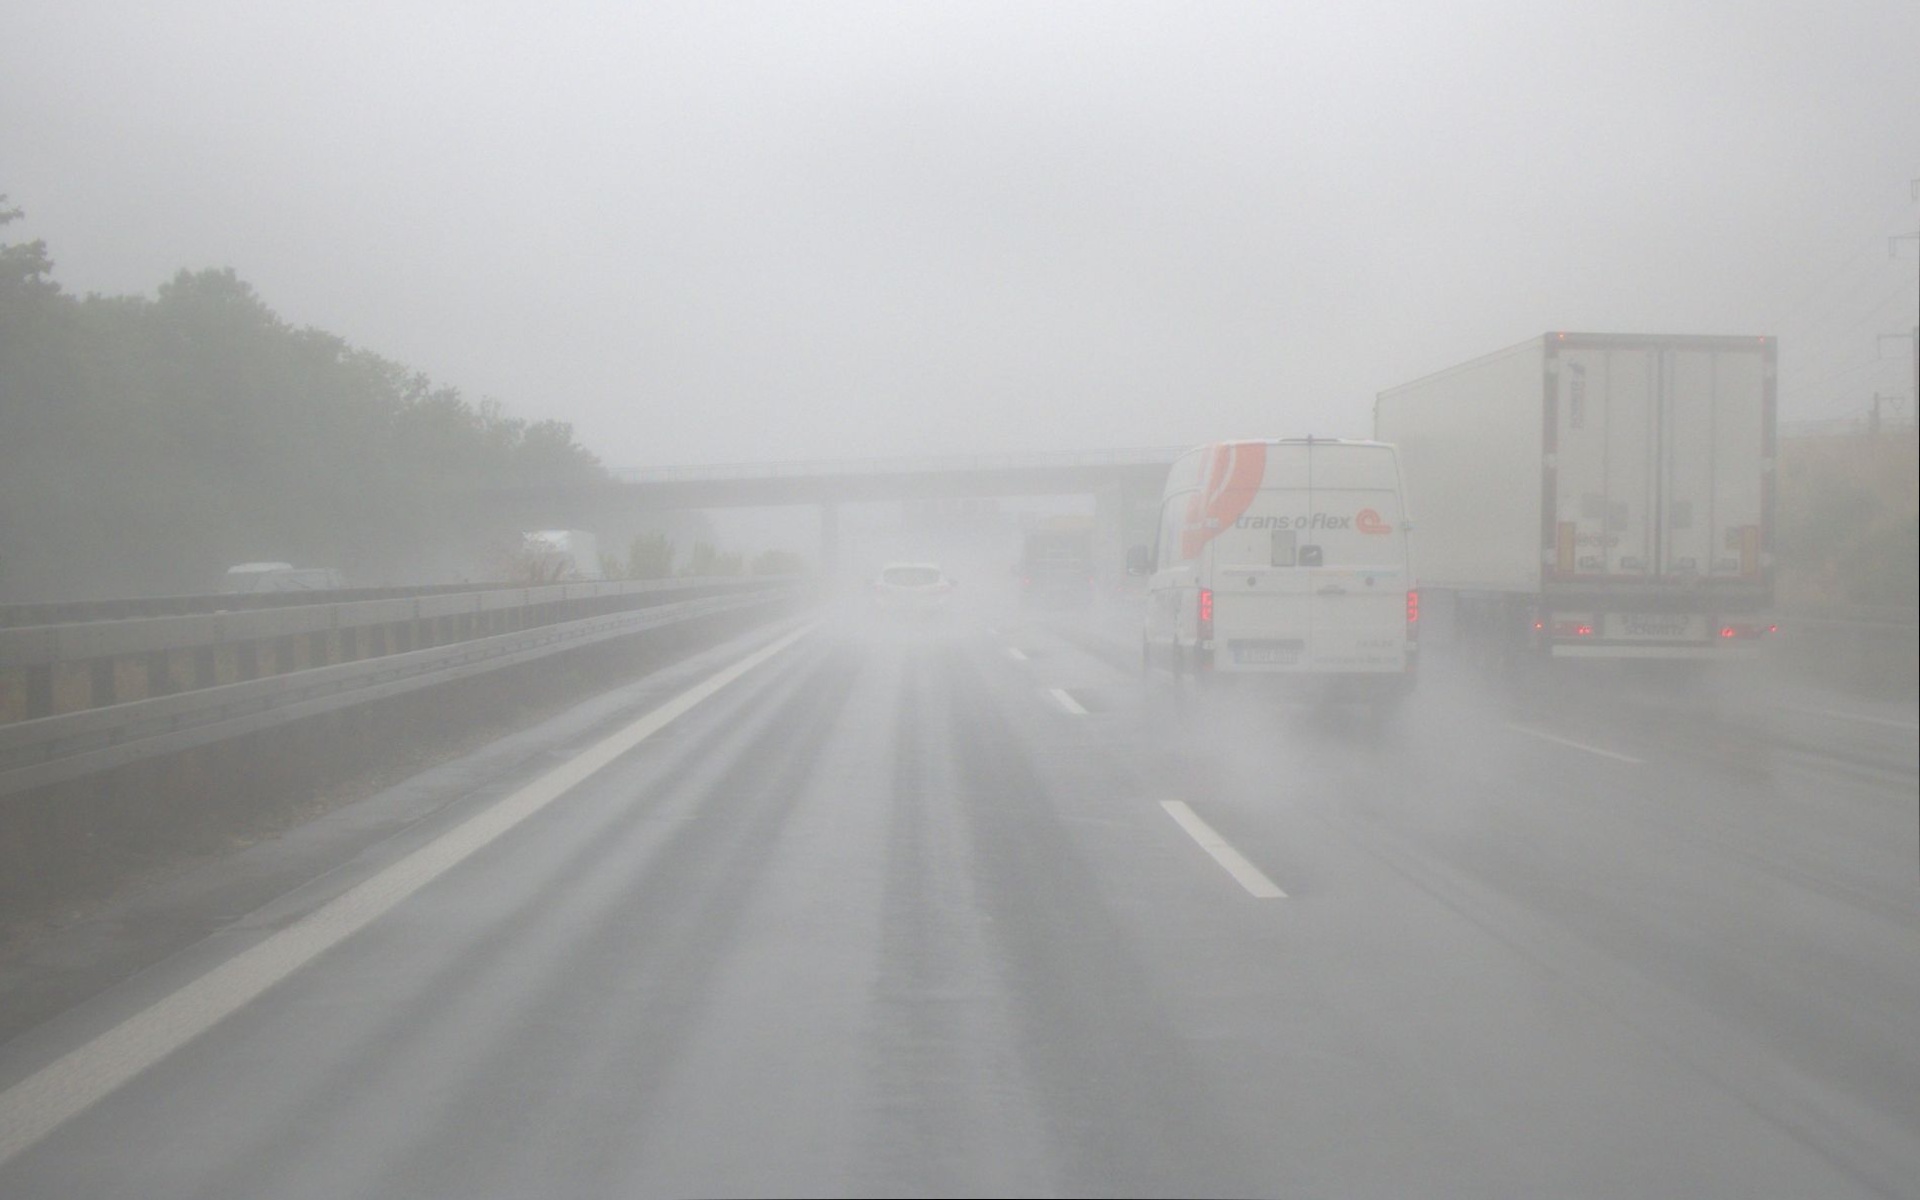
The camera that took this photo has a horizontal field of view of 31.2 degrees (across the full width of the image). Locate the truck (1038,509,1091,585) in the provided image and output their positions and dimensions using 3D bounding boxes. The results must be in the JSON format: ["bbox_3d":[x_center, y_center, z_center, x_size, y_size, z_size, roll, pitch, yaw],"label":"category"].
[{"bbox_3d":[4.969,-2.544,164.451,2.109,3.504,5.248,1,2,-2],"label":"truck"}]

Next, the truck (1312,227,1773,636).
[{"bbox_3d":[7.417,-2.038,46.988,3.039,4.572,16.352,1,1,-1],"label":"truck"}]

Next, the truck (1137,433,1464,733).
[{"bbox_3d":[3.002,-0.229,31.659,2.419,2.484,5.560,1,2,0],"label":"truck"}]

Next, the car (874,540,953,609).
[{"bbox_3d":[-0.988,-0.566,72.982,1.605,1.333,3.849,1,2,-1],"label":"car"}]

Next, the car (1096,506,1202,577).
[{"bbox_3d":[5.615,-1.783,102.969,2.788,2.006,4.993,1,2,-1],"label":"car"}]
